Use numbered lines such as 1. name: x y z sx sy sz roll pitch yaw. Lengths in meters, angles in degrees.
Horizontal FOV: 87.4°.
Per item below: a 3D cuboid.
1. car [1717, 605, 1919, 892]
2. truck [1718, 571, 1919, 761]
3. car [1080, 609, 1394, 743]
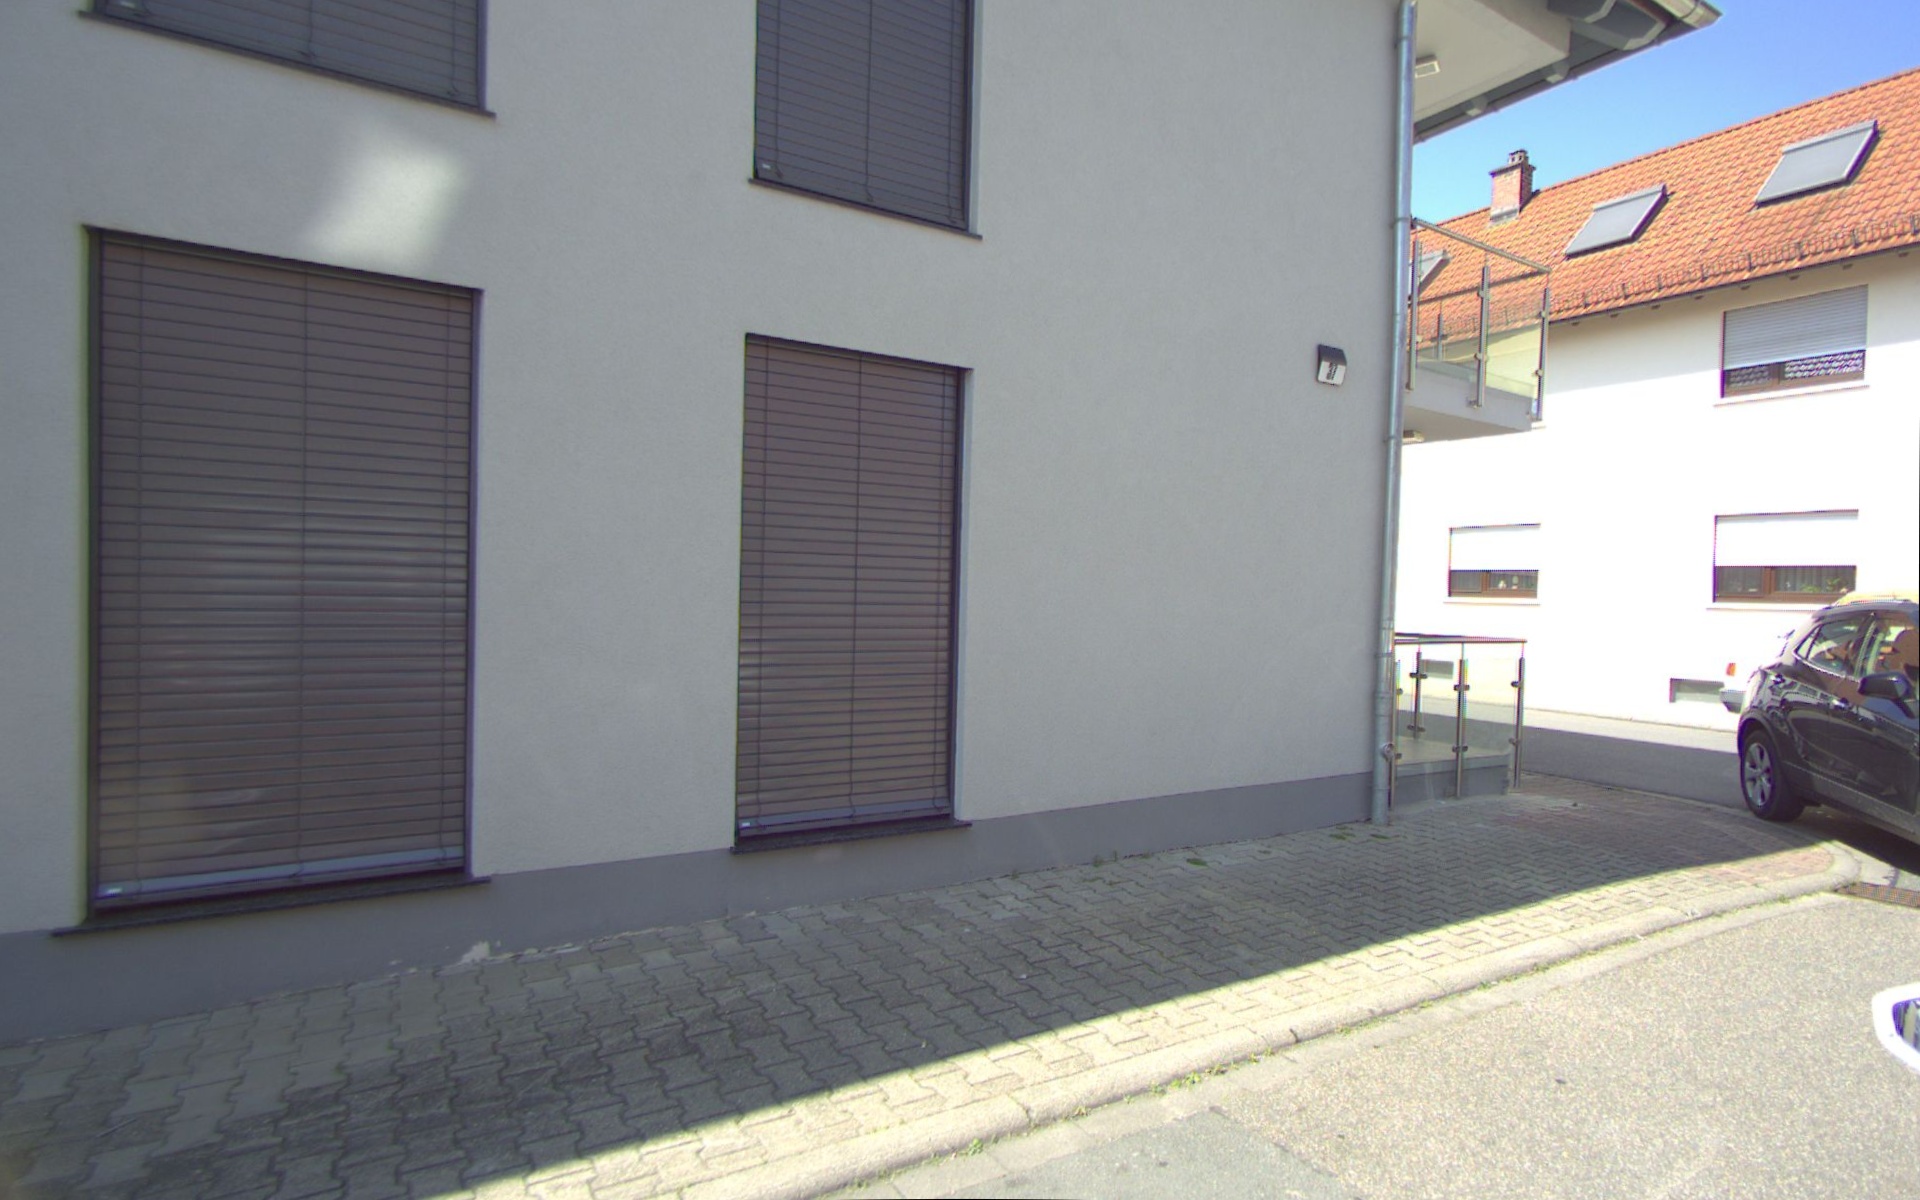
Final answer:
1. car: 6.449 0.840 6.096 1.727 1.604 4.281 0 0 19
2. truck: 11.554 0.755 10.735 2.164 2.040 5.038 2 1 -30
3. car: 3.571 0.890 13.550 1.625 1.387 3.884 -1 2 -38
